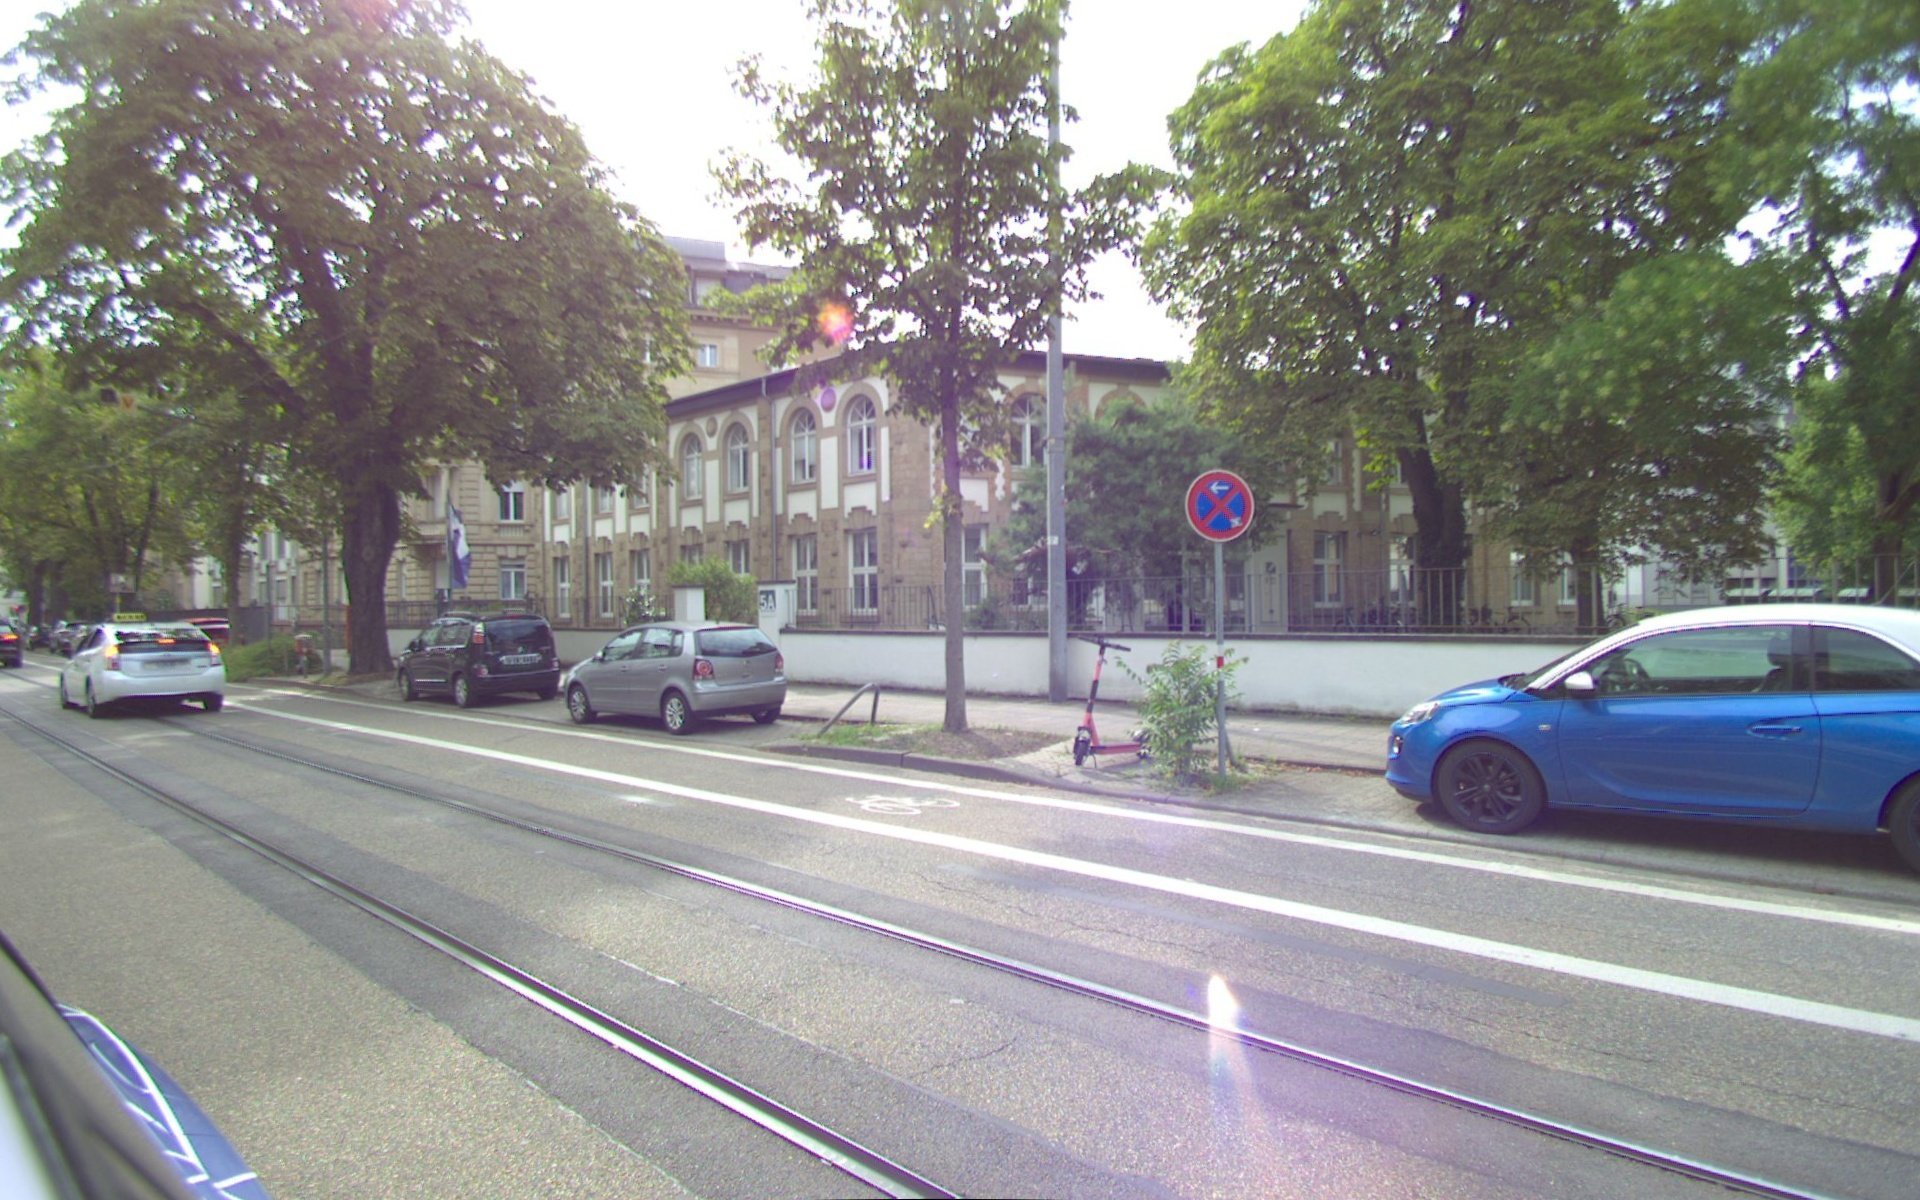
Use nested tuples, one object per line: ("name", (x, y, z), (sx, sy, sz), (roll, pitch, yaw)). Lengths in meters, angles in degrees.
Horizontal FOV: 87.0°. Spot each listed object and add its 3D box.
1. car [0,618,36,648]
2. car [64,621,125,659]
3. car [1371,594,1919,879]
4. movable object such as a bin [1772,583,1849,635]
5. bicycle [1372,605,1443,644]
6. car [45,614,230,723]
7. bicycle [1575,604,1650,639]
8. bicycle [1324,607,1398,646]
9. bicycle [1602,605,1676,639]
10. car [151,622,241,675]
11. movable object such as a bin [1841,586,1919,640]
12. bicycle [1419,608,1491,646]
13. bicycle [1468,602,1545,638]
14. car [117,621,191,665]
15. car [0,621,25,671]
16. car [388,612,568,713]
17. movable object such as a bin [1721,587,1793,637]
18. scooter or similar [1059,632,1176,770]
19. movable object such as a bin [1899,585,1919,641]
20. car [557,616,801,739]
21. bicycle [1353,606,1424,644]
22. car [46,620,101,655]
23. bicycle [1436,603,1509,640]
("car", (-87.950, 3.039, 91.702), (1.991, 2.620, 5.877), (-1, -1, 28))
("car", (-40.067, 1.834, 46.824), (3.904, 1.646, 1.637), (-2, -1, 41))
("car", (4.782, 0.729, 6.537), (3.600, 1.476, 1.611), (-2, -1, 41))
("movable object such as a bin", (24.302, 0.262, 28.931), (1.103, 1.441, 1.288), (0, 0, -21))
("bicycle", (12.882, 0.691, 29.175), (0.584, 1.051, 1.984), (-1, 0, -23))
("car", (-14.068, 1.073, 17.228), (4.331, 1.624, 1.714), (-2, -2, 41))
("bicycle", (20.625, 0.666, 32.047), (0.584, 1.051, 1.984), (-1, 0, -23))
("bicycle", (11.309, 0.741, 28.605), (0.584, 1.051, 1.984), (-1, 0, -30))
("bicycle", (21.843, 0.697, 32.599), (0.584, 1.051, 1.984), (-1, 0, -23))
("car", (-25.672, 1.588, 33.972), (3.904, 1.646, 1.637), (-2, -1, 41))
("movable object such as a bin", (25.013, 0.344, 27.470), (1.103, 1.441, 1.288), (0, 0, -21))
("bicycle", (14.483, 0.783, 29.667), (0.584, 1.051, 1.984), (-1, 0, -23))
("bicycle", (16.696, 0.608, 30.971), (1.978, 1.051, 0.586), (-1, 0, 44))
("car", (-31.966, 1.685, 40.091), (3.904, 1.613, 1.637), (-2, -1, 41))
("car", (-33.225, 1.552, 34.299), (4.332, 1.624, 1.828), (-2, -1, 41))
("car", (-8.918, 1.080, 18.604), (3.723, 1.646, 1.637), (-2, -1, 41))
("movable object such as a bin", (23.791, 0.359, 30.227), (1.103, 1.441, 1.288), (0, 0, -21))
("scooter or similar", (1.481, 0.922, 9.503), (0.988, 1.176, 0.370), (-3, 0, -24))
("movable object such as a bin", (25.391, 0.339, 26.151), (1.103, 1.441, 1.288), (0, 0, -21))
("car", (-4.014, 0.995, 14.205), (3.572, 1.476, 1.611), (-2, -1, 41))
("bicycle", (12.186, 0.699, 28.842), (0.584, 1.051, 1.984), (-1, 0, -23))
("car", (-45.416, 1.903, 51.817), (3.904, 1.646, 1.637), (-2, -1, 41))
("bicycle", (15.175, 0.627, 30.006), (0.584, 1.051, 1.984), (-1, 0, -23))
